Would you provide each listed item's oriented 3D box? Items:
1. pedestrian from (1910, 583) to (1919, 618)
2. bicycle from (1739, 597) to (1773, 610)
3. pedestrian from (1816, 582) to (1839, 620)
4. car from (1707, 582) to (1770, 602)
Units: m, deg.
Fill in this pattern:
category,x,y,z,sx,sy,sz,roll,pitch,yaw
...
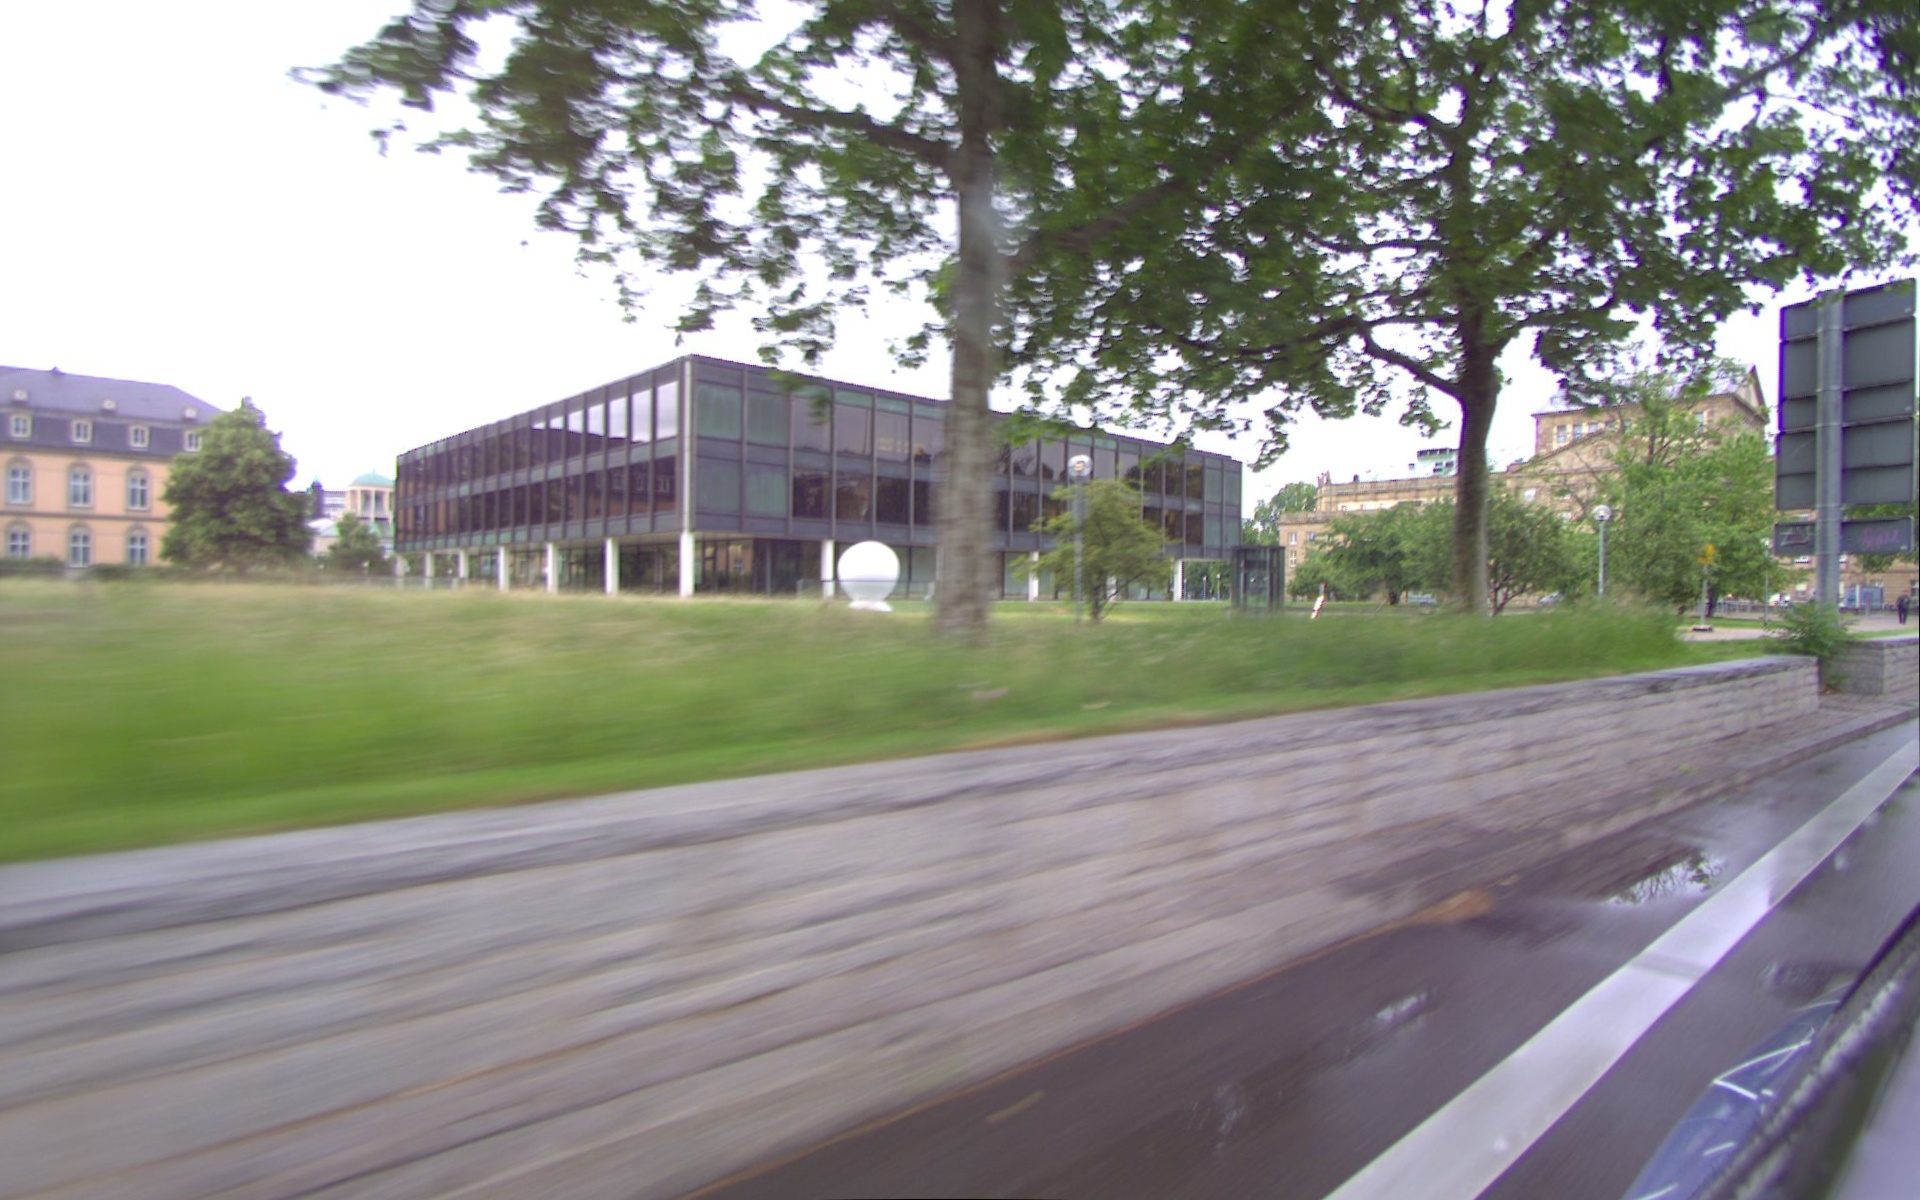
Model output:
category,x,y,z,sx,sy,sz,roll,pitch,yaw
pedestrian,49.002,0.009,51.692,0.576,1.796,0.594,0,-1,-39
bicycle,50.244,0.238,63.853,1.611,0.806,0.505,1,0,29
pedestrian,39.462,0.044,46.027,0.665,1.686,0.582,1,1,33
car,65.606,-0.691,85.327,1.924,1.614,3.940,0,0,-43
